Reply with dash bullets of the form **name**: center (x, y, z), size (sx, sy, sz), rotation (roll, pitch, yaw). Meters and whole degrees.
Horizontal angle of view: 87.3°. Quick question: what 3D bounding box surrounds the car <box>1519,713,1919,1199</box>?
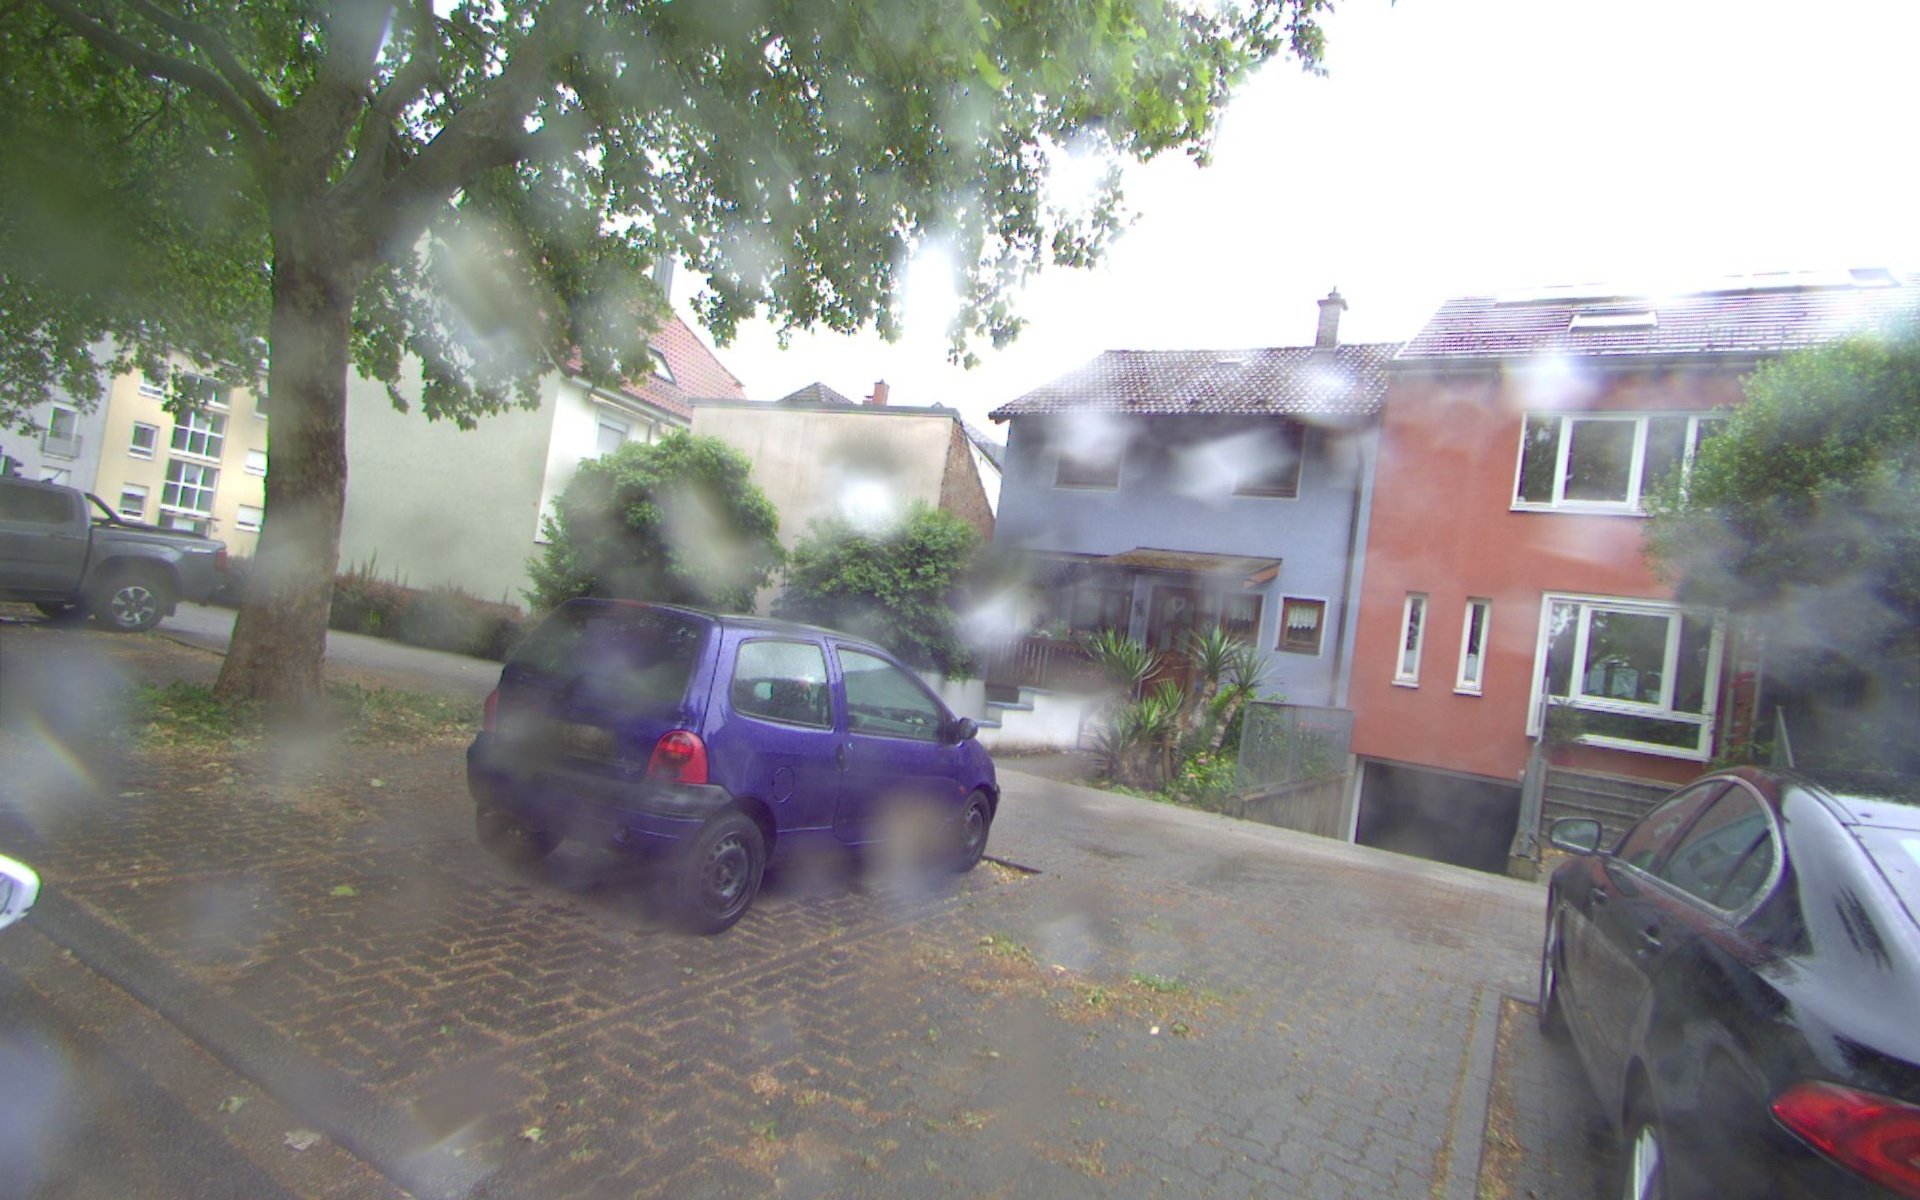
- **car**: center (2.973, 1.242, 2.989), size (1.903, 1.489, 4.781), rotation (7, -2, 27)

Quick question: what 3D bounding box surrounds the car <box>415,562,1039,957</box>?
- **car**: center (-1.048, 0.815, 5.953), size (1.591, 1.480, 3.364), rotation (7, -3, 30)

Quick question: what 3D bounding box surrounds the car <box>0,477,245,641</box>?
- **car**: center (-12.351, -0.659, 12.476), size (1.812, 1.827, 5.357), rotation (7, -2, 25)
